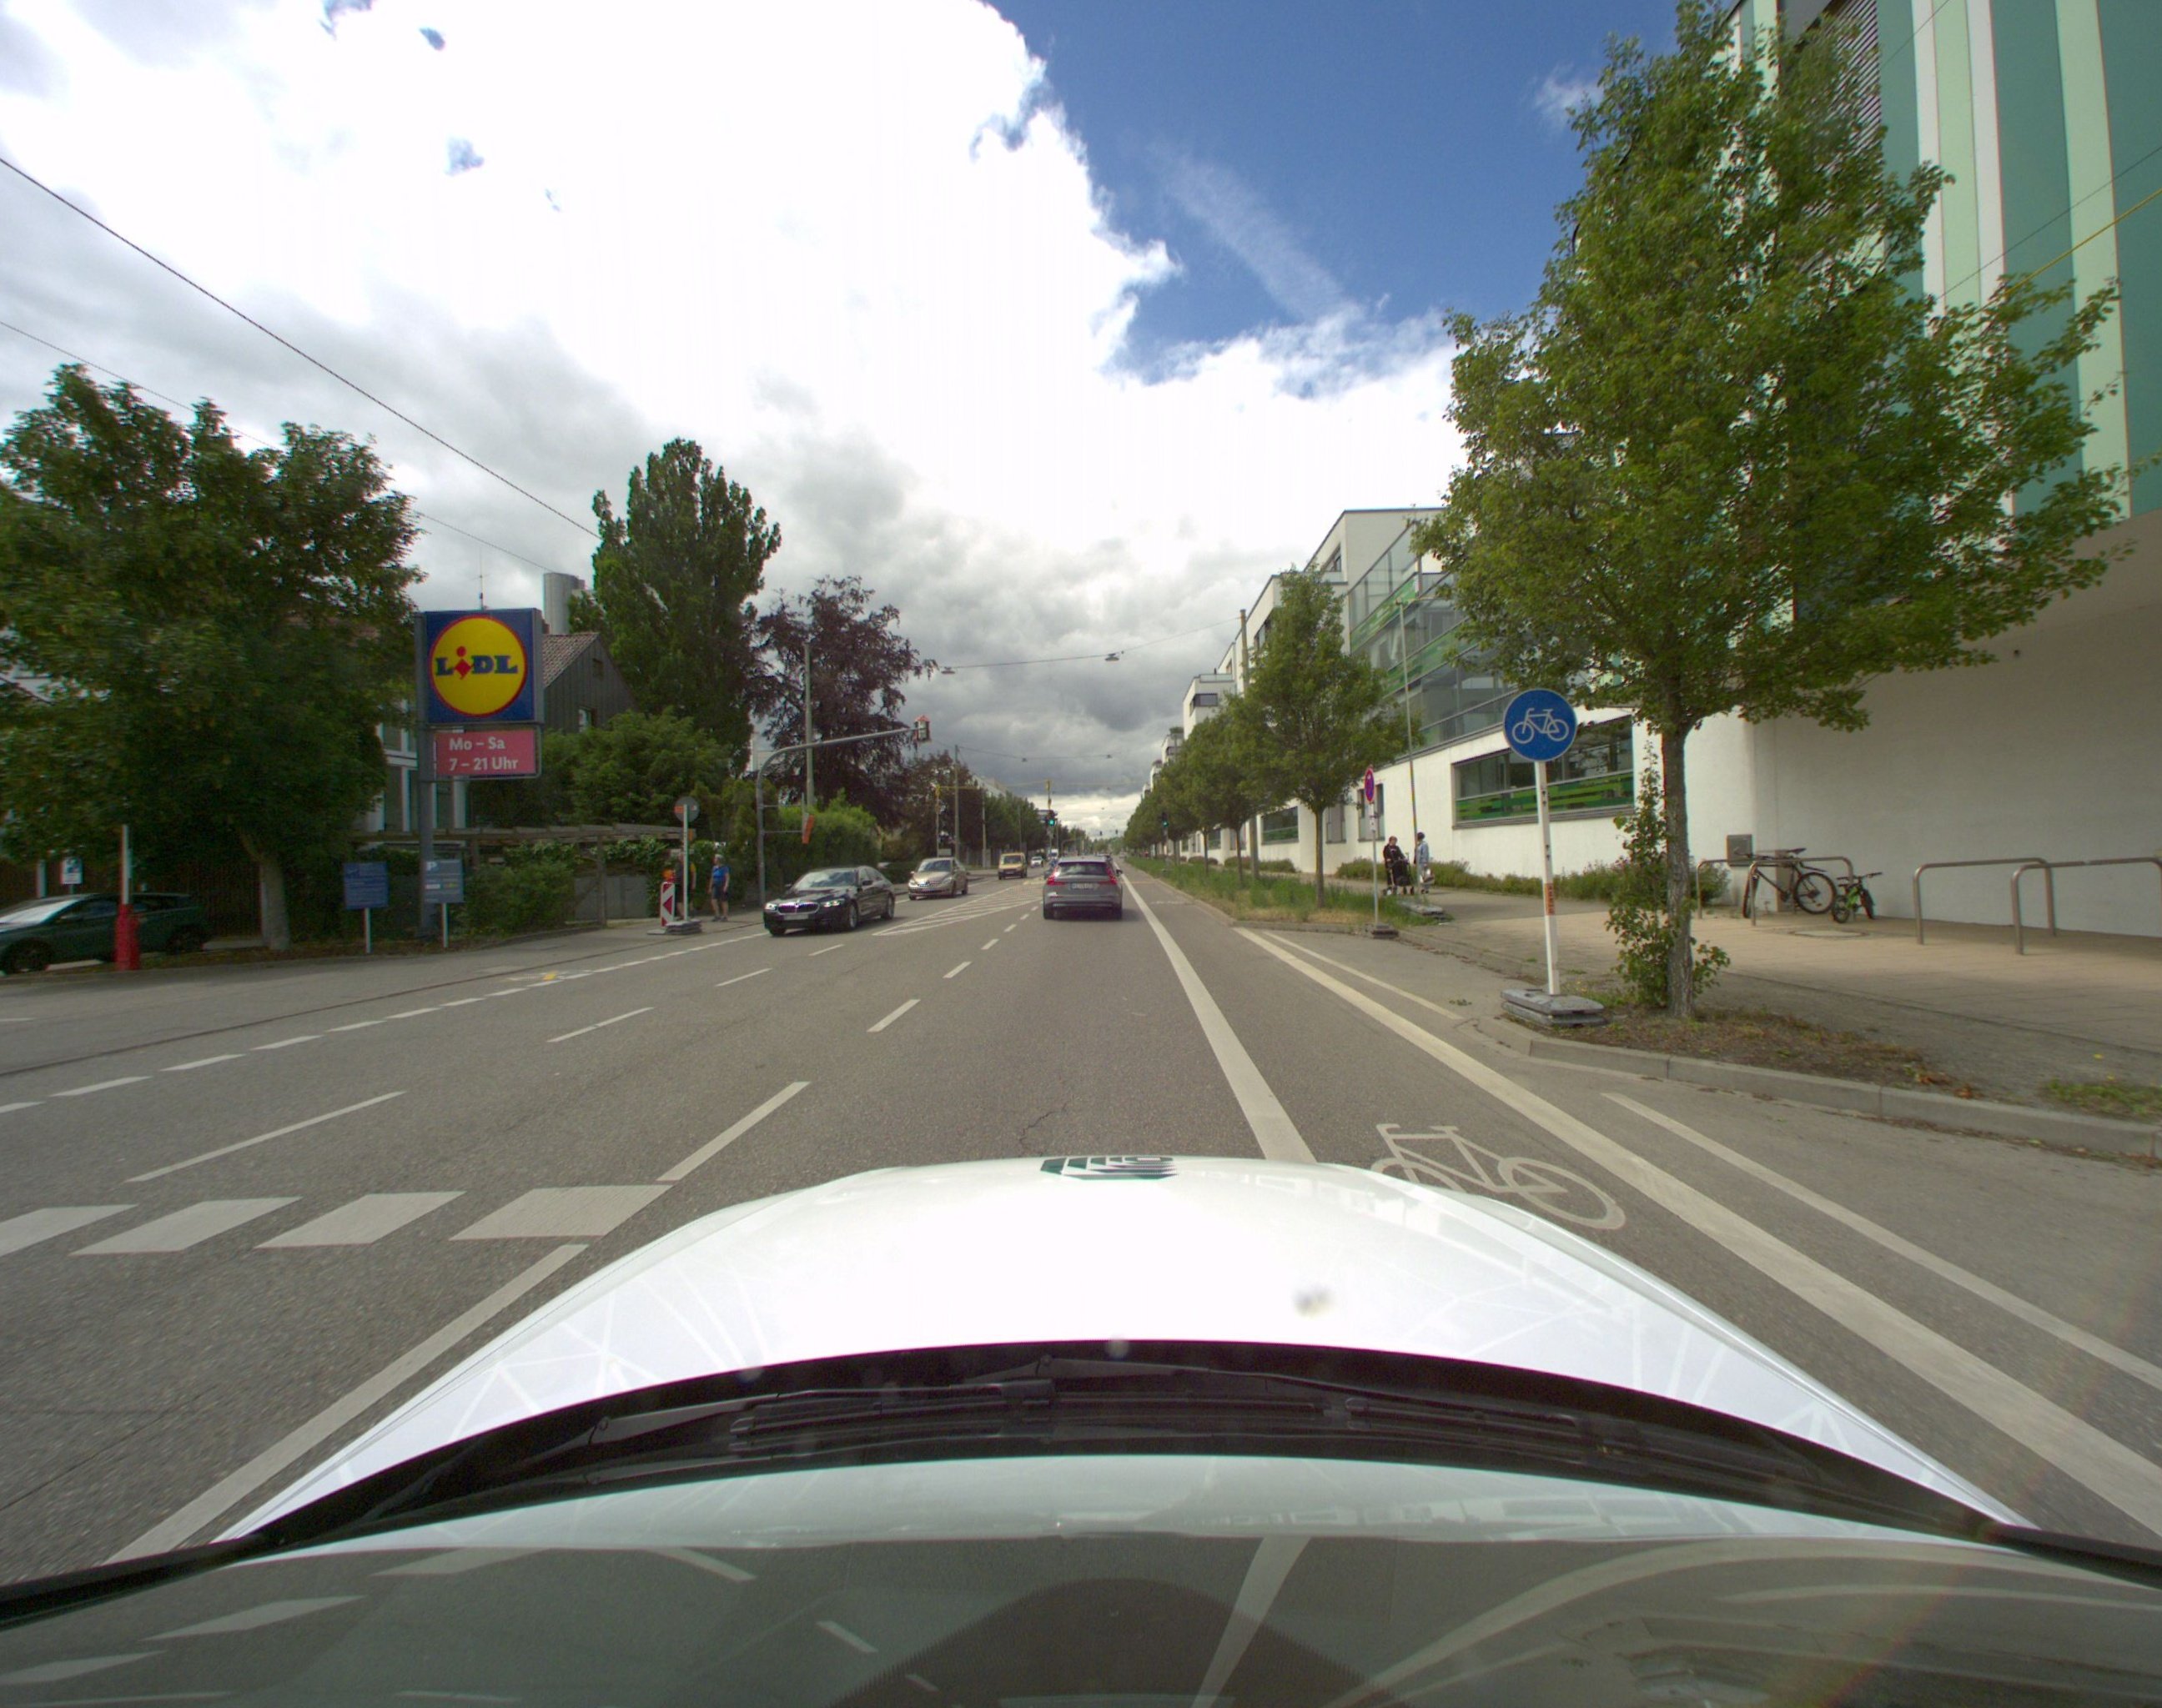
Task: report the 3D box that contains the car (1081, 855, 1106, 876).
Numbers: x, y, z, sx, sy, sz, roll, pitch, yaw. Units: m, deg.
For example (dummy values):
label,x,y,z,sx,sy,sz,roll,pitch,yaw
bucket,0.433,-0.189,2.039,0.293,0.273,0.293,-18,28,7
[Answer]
label,x,y,z,sx,sy,sz,roll,pitch,yaw
car,1.003,0.860,63.318,1.848,1.513,4.001,-1,1,1

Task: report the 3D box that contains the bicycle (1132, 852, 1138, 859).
label,x,y,z,sx,sy,sz,roll,pitch,yaw
bicycle,12.486,0.347,188.566,1.063,1.453,2.978,-3,1,1

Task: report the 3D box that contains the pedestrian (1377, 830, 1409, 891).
label,x,y,z,sx,sy,sz,roll,pitch,yaw
pedestrian,8.652,0.178,22.579,0.603,1.654,0.552,-3,0,1

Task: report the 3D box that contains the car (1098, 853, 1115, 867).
label,x,y,z,sx,sy,sz,roll,pitch,yaw
car,2.852,0.657,91.979,1.838,1.513,4.001,-1,1,1

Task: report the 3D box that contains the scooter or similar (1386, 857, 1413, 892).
label,x,y,z,sx,sy,sz,roll,pitch,yaw
scooter or similar,8.605,0.547,22.012,0.420,0.905,0.682,-3,0,1

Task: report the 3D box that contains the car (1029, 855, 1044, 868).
label,x,y,z,sx,sy,sz,roll,pitch,yaw
car,-6.093,1.019,111.366,1.655,1.515,4.002,-2,1,2

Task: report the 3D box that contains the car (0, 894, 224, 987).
label,x,y,z,sx,sy,sz,roll,pitch,yaw
car,-20.260,1.684,16.228,1.986,1.453,4.002,-3,0,2

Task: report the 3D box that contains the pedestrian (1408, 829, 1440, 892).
label,x,y,z,sx,sy,sz,roll,pitch,yaw
pedestrian,9.261,0.165,21.994,0.548,1.654,0.607,-3,0,1

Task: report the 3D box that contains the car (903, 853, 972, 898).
label,x,y,z,sx,sy,sz,roll,pitch,yaw
car,-5.664,0.789,32.672,1.743,1.555,4.404,-3,1,2

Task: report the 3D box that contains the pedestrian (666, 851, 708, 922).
label,x,y,z,sx,sy,sz,roll,pitch,yaw
pedestrian,-10.687,0.862,22.107,0.679,1.854,0.707,-3,0,2

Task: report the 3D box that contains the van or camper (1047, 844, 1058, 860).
label,x,y,z,sx,sy,sz,roll,pitch,yaw
van or camper,-5.380,-0.395,152.155,1.989,2.733,6.047,-3,1,-3

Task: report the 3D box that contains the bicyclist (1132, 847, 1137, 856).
label,x,y,z,sx,sy,sz,roll,pitch,yaw
bicyclist,12.443,-0.494,188.815,1.010,2.013,1.131,-3,0,1

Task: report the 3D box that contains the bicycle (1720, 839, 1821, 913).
label,x,y,z,sx,sy,sz,roll,pitch,yaw
bicycle,10.642,0.329,12.566,1.465,1.045,0.306,-3,0,-11

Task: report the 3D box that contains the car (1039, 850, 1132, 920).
label,x,y,z,sx,sy,sz,roll,pitch,yaw
car,0.224,0.689,20.237,1.844,1.513,4.008,-1,0,7

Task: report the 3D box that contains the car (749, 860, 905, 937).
label,x,y,z,sx,sy,sz,roll,pitch,yaw
car,-5.840,0.949,19.454,1.986,1.399,4.813,-4,0,2

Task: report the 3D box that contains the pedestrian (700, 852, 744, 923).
label,x,y,z,sx,sy,sz,roll,pitch,yaw
pedestrian,-9.731,0.880,22.108,0.679,1.854,0.893,-3,0,2

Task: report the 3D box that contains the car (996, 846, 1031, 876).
label,x,y,z,sx,sy,sz,roll,pitch,yaw
car,-4.705,0.430,57.013,1.834,1.904,4.687,-3,1,2

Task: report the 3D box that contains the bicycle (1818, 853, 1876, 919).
label,x,y,z,sx,sy,sz,roll,pitch,yaw
bicycle,10.802,0.440,11.484,1.028,0.841,0.304,-3,1,-31
